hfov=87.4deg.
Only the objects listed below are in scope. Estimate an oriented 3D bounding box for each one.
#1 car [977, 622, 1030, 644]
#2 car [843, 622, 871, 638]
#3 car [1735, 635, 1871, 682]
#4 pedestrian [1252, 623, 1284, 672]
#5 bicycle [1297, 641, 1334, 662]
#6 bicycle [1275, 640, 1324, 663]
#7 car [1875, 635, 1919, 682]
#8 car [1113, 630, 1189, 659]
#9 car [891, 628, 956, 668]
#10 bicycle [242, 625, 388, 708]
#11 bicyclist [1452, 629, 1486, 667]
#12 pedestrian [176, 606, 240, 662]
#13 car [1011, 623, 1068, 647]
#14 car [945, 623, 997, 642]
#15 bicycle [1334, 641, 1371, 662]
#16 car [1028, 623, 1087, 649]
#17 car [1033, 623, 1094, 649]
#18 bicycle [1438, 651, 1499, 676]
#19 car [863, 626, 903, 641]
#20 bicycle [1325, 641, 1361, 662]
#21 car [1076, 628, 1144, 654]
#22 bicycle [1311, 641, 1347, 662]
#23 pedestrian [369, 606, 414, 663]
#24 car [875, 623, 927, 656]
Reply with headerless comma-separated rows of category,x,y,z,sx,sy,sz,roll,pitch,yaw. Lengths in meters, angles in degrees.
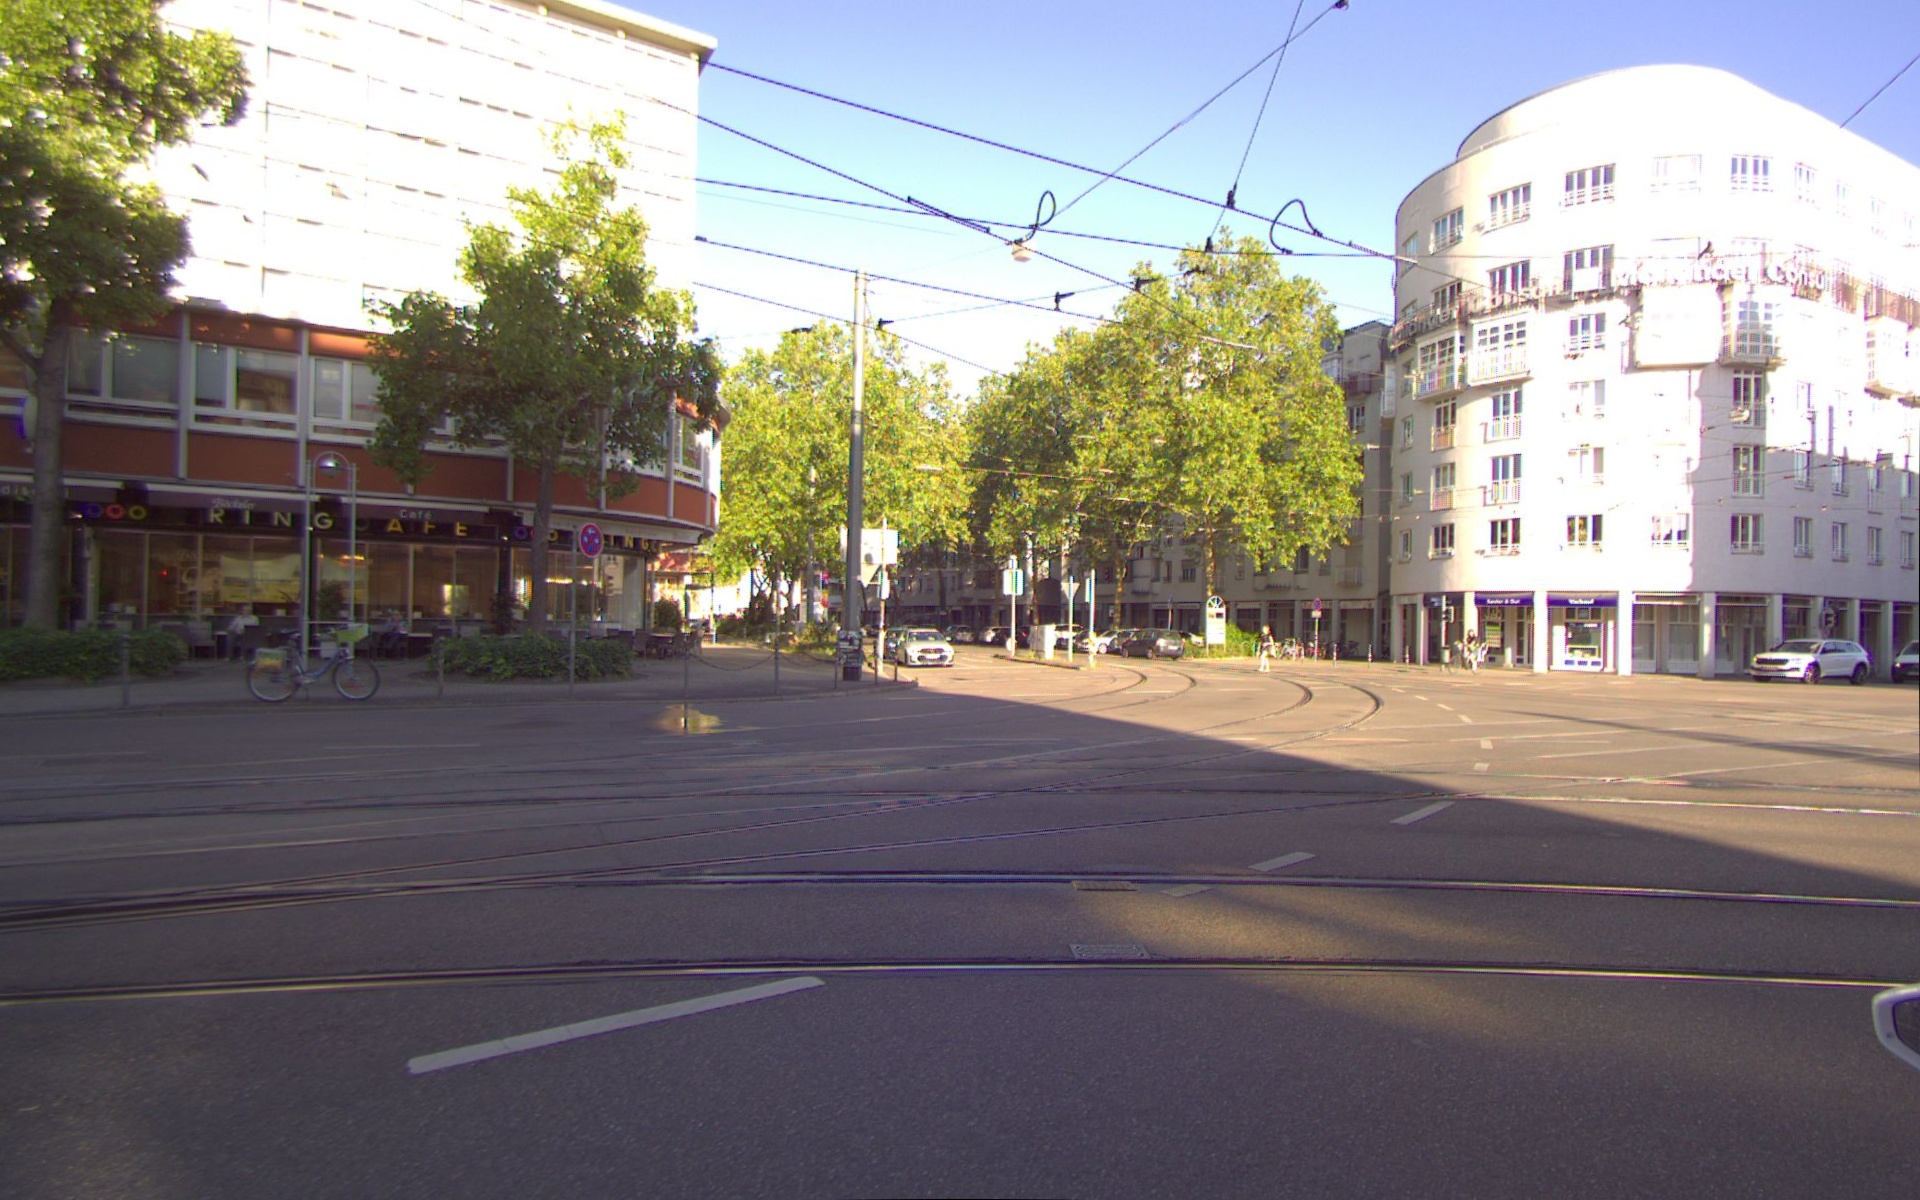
car,3.558,2.691,81.841,3.952,1.738,1.786,2,-1,-29
car,-10.522,3.019,102.489,1.774,1.530,3.980,2,-1,-21
car,31.514,2.180,37.550,4.443,1.641,1.991,2,-1,-21
pedestrian,11.130,1.705,36.305,0.686,1.704,0.867,0,-1,-19
bicycle,19.704,2.836,55.707,0.807,1.122,1.938,1,-1,-22
bicycle,18.438,2.784,54.597,0.930,1.122,2.415,2,-1,-40
car,40.707,2.459,41.998,5.280,1.862,1.986,2,-1,-28
car,10.156,2.356,53.760,1.864,1.440,4.432,1,-2,-23
car,-1.491,1.831,38.951,1.857,1.440,4.448,2,-2,-10
bicycle,-10.153,1.042,15.876,1.829,1.251,0.579,2,0,-22
bicyclist,20.406,1.934,40.288,0.882,1.486,0.840,1,-1,-18
pedestrian,-17.727,0.805,23.696,0.891,1.280,0.838,1,-1,-12
car,5.970,2.619,75.312,3.952,1.738,1.786,2,-1,-29
car,0.950,2.689,83.540,3.946,1.530,1.789,1,-2,-25
bicycle,22.359,2.905,57.209,0.807,1.122,1.937,1,-1,-24
car,7.047,2.593,72.683,3.952,1.738,1.786,2,-1,-29
car,7.267,2.528,70.345,3.952,1.738,1.786,2,-1,-29
bicycle,20.382,2.540,40.275,2.229,0.939,0.840,1,-1,-18
car,-8.284,3.605,108.345,3.952,1.530,1.786,2,-1,-29
bicycle,21.632,2.885,56.747,0.807,1.122,1.937,1,-1,-24
car,9.455,2.568,63.377,3.952,1.530,1.786,2,-1,-29
bicycle,20.603,2.858,56.087,0.807,1.122,1.938,1,-1,-22
pedestrian,-14.323,0.868,25.337,0.879,1.414,0.931,1,-1,-26
car,-2.799,1.841,46.888,1.857,1.440,4.448,2,-2,-10
